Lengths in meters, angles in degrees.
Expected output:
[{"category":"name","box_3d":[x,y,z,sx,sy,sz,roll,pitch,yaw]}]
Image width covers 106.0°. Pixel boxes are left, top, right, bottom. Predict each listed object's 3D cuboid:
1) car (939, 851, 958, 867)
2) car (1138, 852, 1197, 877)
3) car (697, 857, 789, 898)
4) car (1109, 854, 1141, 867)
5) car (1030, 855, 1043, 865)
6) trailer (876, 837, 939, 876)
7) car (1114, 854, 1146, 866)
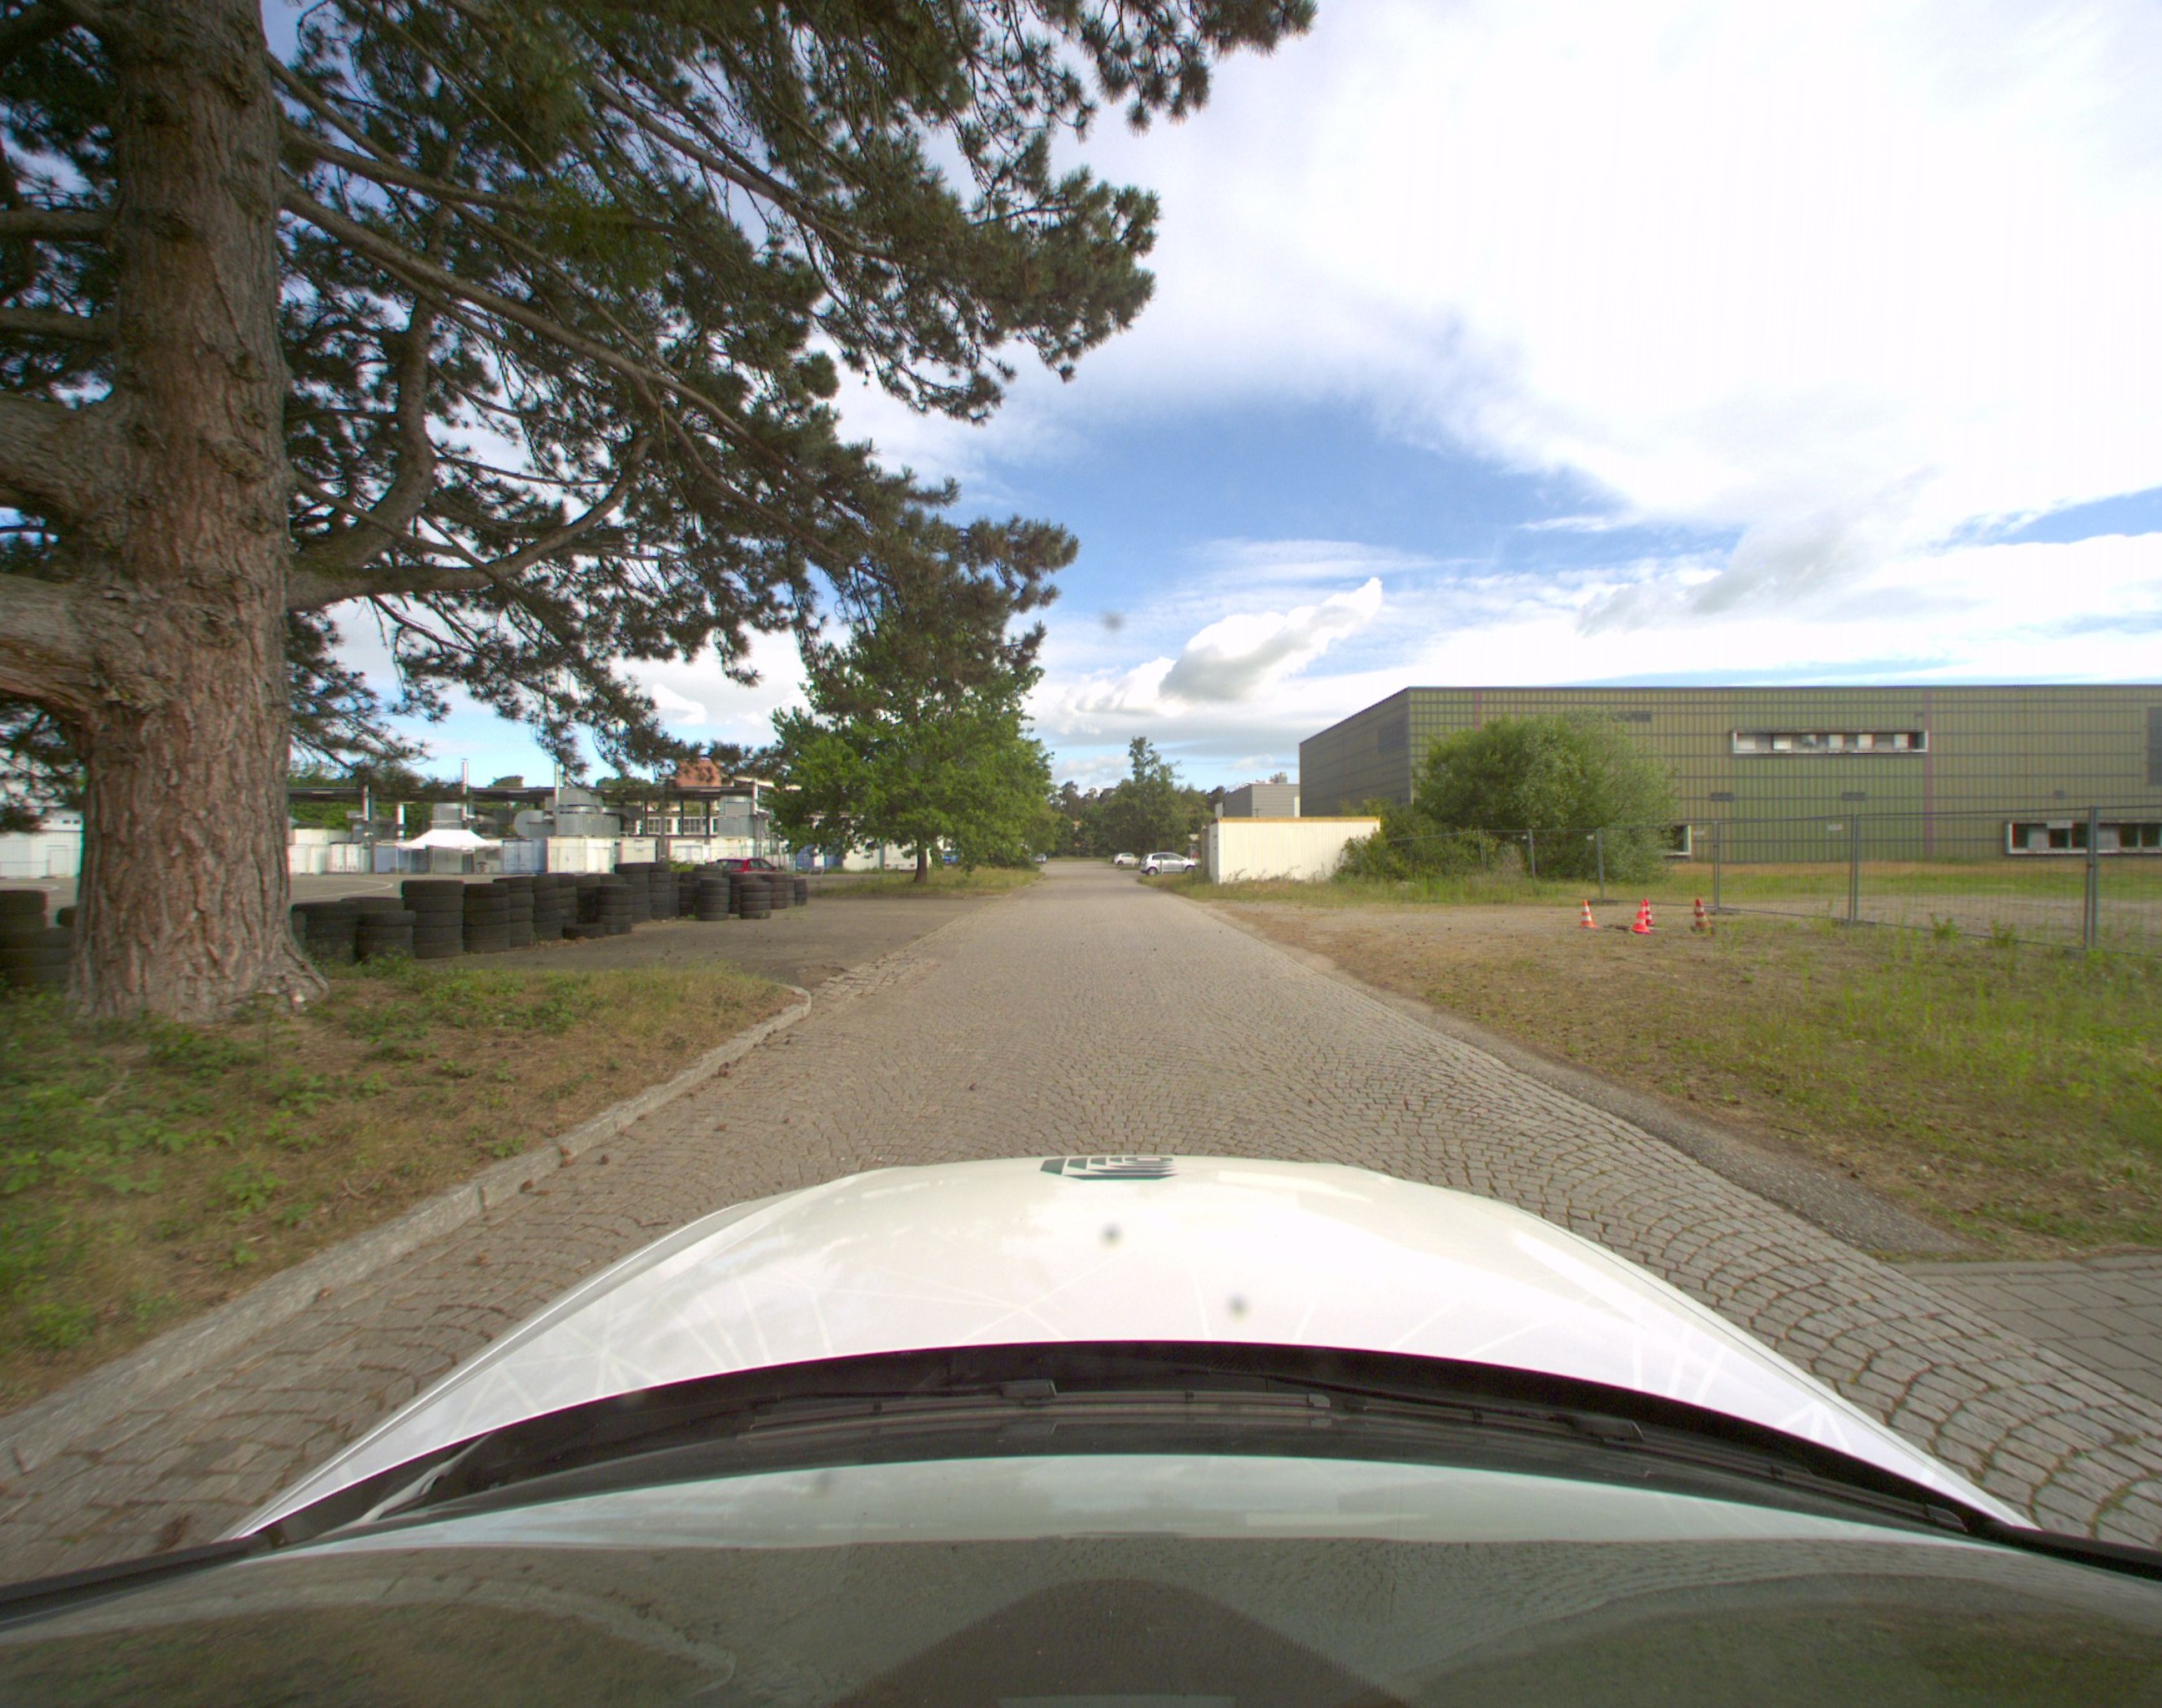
[{"category":"car","box_3d":[-17.659,0.652,108.780,1.920,2.047,4.596,0,0,-2]},{"category":"car","box_3d":[5.898,0.690,55.882,3.841,1.654,1.684,0,0,-3]},{"category":"car","box_3d":[-12.713,0.843,30.878,1.758,1.453,3.493,0,0,5]},{"category":"car","box_3d":[5.791,0.872,107.578,3.978,1.601,1.727,0,0,-3]},{"category":"car","box_3d":[-6.594,0.859,120.927,1.731,1.469,4.042,0,0,-2]},{"category":"trailer","box_3d":[-14.380,0.205,68.307,3.147,3.067,8.788,0,0,2]},{"category":"car","box_3d":[6.113,0.705,102.029,4.011,1.502,1.548,0,0,0]}]
